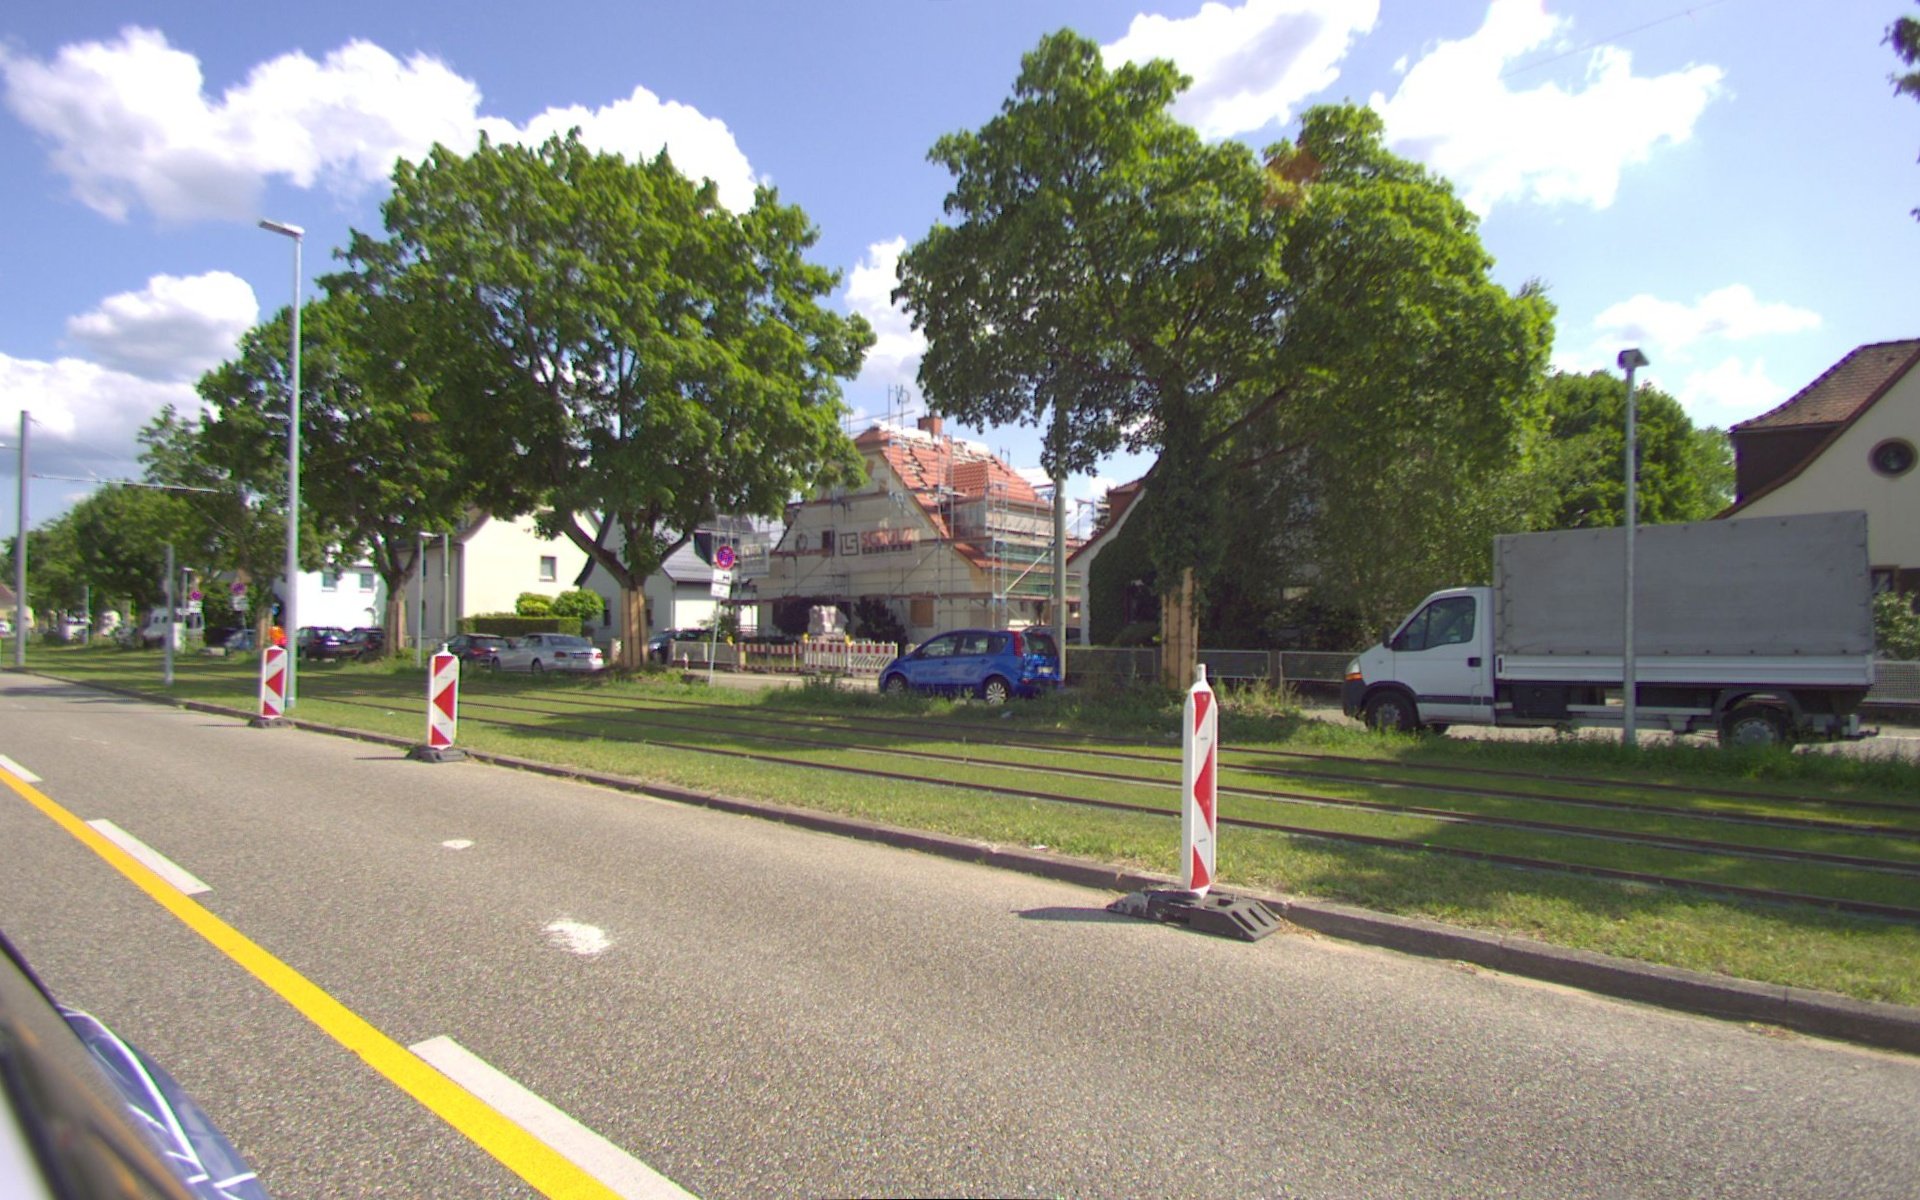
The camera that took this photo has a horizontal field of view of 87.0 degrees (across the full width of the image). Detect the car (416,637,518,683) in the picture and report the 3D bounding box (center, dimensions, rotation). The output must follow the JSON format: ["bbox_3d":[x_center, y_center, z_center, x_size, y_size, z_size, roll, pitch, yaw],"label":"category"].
[{"bbox_3d":[-17.527,2.130,35.899,4.403,1.497,1.680,-3,-3,41],"label":"car"}]

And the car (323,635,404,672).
[{"bbox_3d":[-25.186,2.265,42.656,4.403,1.497,1.680,-3,-3,41],"label":"car"}]

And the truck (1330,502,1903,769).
[{"bbox_3d":[8.294,0.462,13.409,5.971,2.802,2.242,-2,-3,41],"label":"truck"}]

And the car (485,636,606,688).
[{"bbox_3d":[-13.109,1.943,31.864,4.520,1.497,1.765,-4,-3,42],"label":"car"}]

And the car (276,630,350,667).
[{"bbox_3d":[-29.501,2.237,46.079,4.403,1.584,1.680,-3,-3,41],"label":"car"}]

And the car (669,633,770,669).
[{"bbox_3d":[-10.933,2.305,46.216,1.702,1.497,4.345,-3,-3,41],"label":"car"}]

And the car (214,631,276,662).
[{"bbox_3d":[-37.501,2.442,53.054,4.403,1.497,1.680,-3,-3,41],"label":"car"}]

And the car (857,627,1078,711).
[{"bbox_3d":[0.060,1.361,20.286,4.403,1.497,1.680,-3,-3,41],"label":"car"}]

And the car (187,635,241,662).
[{"bbox_3d":[-44.484,2.890,60.334,4.403,1.497,1.680,-3,-3,41],"label":"car"}]

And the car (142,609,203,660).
[{"bbox_3d":[-49.524,2.177,63.610,5.080,3.061,2.108,-3,-3,41],"label":"car"}]
